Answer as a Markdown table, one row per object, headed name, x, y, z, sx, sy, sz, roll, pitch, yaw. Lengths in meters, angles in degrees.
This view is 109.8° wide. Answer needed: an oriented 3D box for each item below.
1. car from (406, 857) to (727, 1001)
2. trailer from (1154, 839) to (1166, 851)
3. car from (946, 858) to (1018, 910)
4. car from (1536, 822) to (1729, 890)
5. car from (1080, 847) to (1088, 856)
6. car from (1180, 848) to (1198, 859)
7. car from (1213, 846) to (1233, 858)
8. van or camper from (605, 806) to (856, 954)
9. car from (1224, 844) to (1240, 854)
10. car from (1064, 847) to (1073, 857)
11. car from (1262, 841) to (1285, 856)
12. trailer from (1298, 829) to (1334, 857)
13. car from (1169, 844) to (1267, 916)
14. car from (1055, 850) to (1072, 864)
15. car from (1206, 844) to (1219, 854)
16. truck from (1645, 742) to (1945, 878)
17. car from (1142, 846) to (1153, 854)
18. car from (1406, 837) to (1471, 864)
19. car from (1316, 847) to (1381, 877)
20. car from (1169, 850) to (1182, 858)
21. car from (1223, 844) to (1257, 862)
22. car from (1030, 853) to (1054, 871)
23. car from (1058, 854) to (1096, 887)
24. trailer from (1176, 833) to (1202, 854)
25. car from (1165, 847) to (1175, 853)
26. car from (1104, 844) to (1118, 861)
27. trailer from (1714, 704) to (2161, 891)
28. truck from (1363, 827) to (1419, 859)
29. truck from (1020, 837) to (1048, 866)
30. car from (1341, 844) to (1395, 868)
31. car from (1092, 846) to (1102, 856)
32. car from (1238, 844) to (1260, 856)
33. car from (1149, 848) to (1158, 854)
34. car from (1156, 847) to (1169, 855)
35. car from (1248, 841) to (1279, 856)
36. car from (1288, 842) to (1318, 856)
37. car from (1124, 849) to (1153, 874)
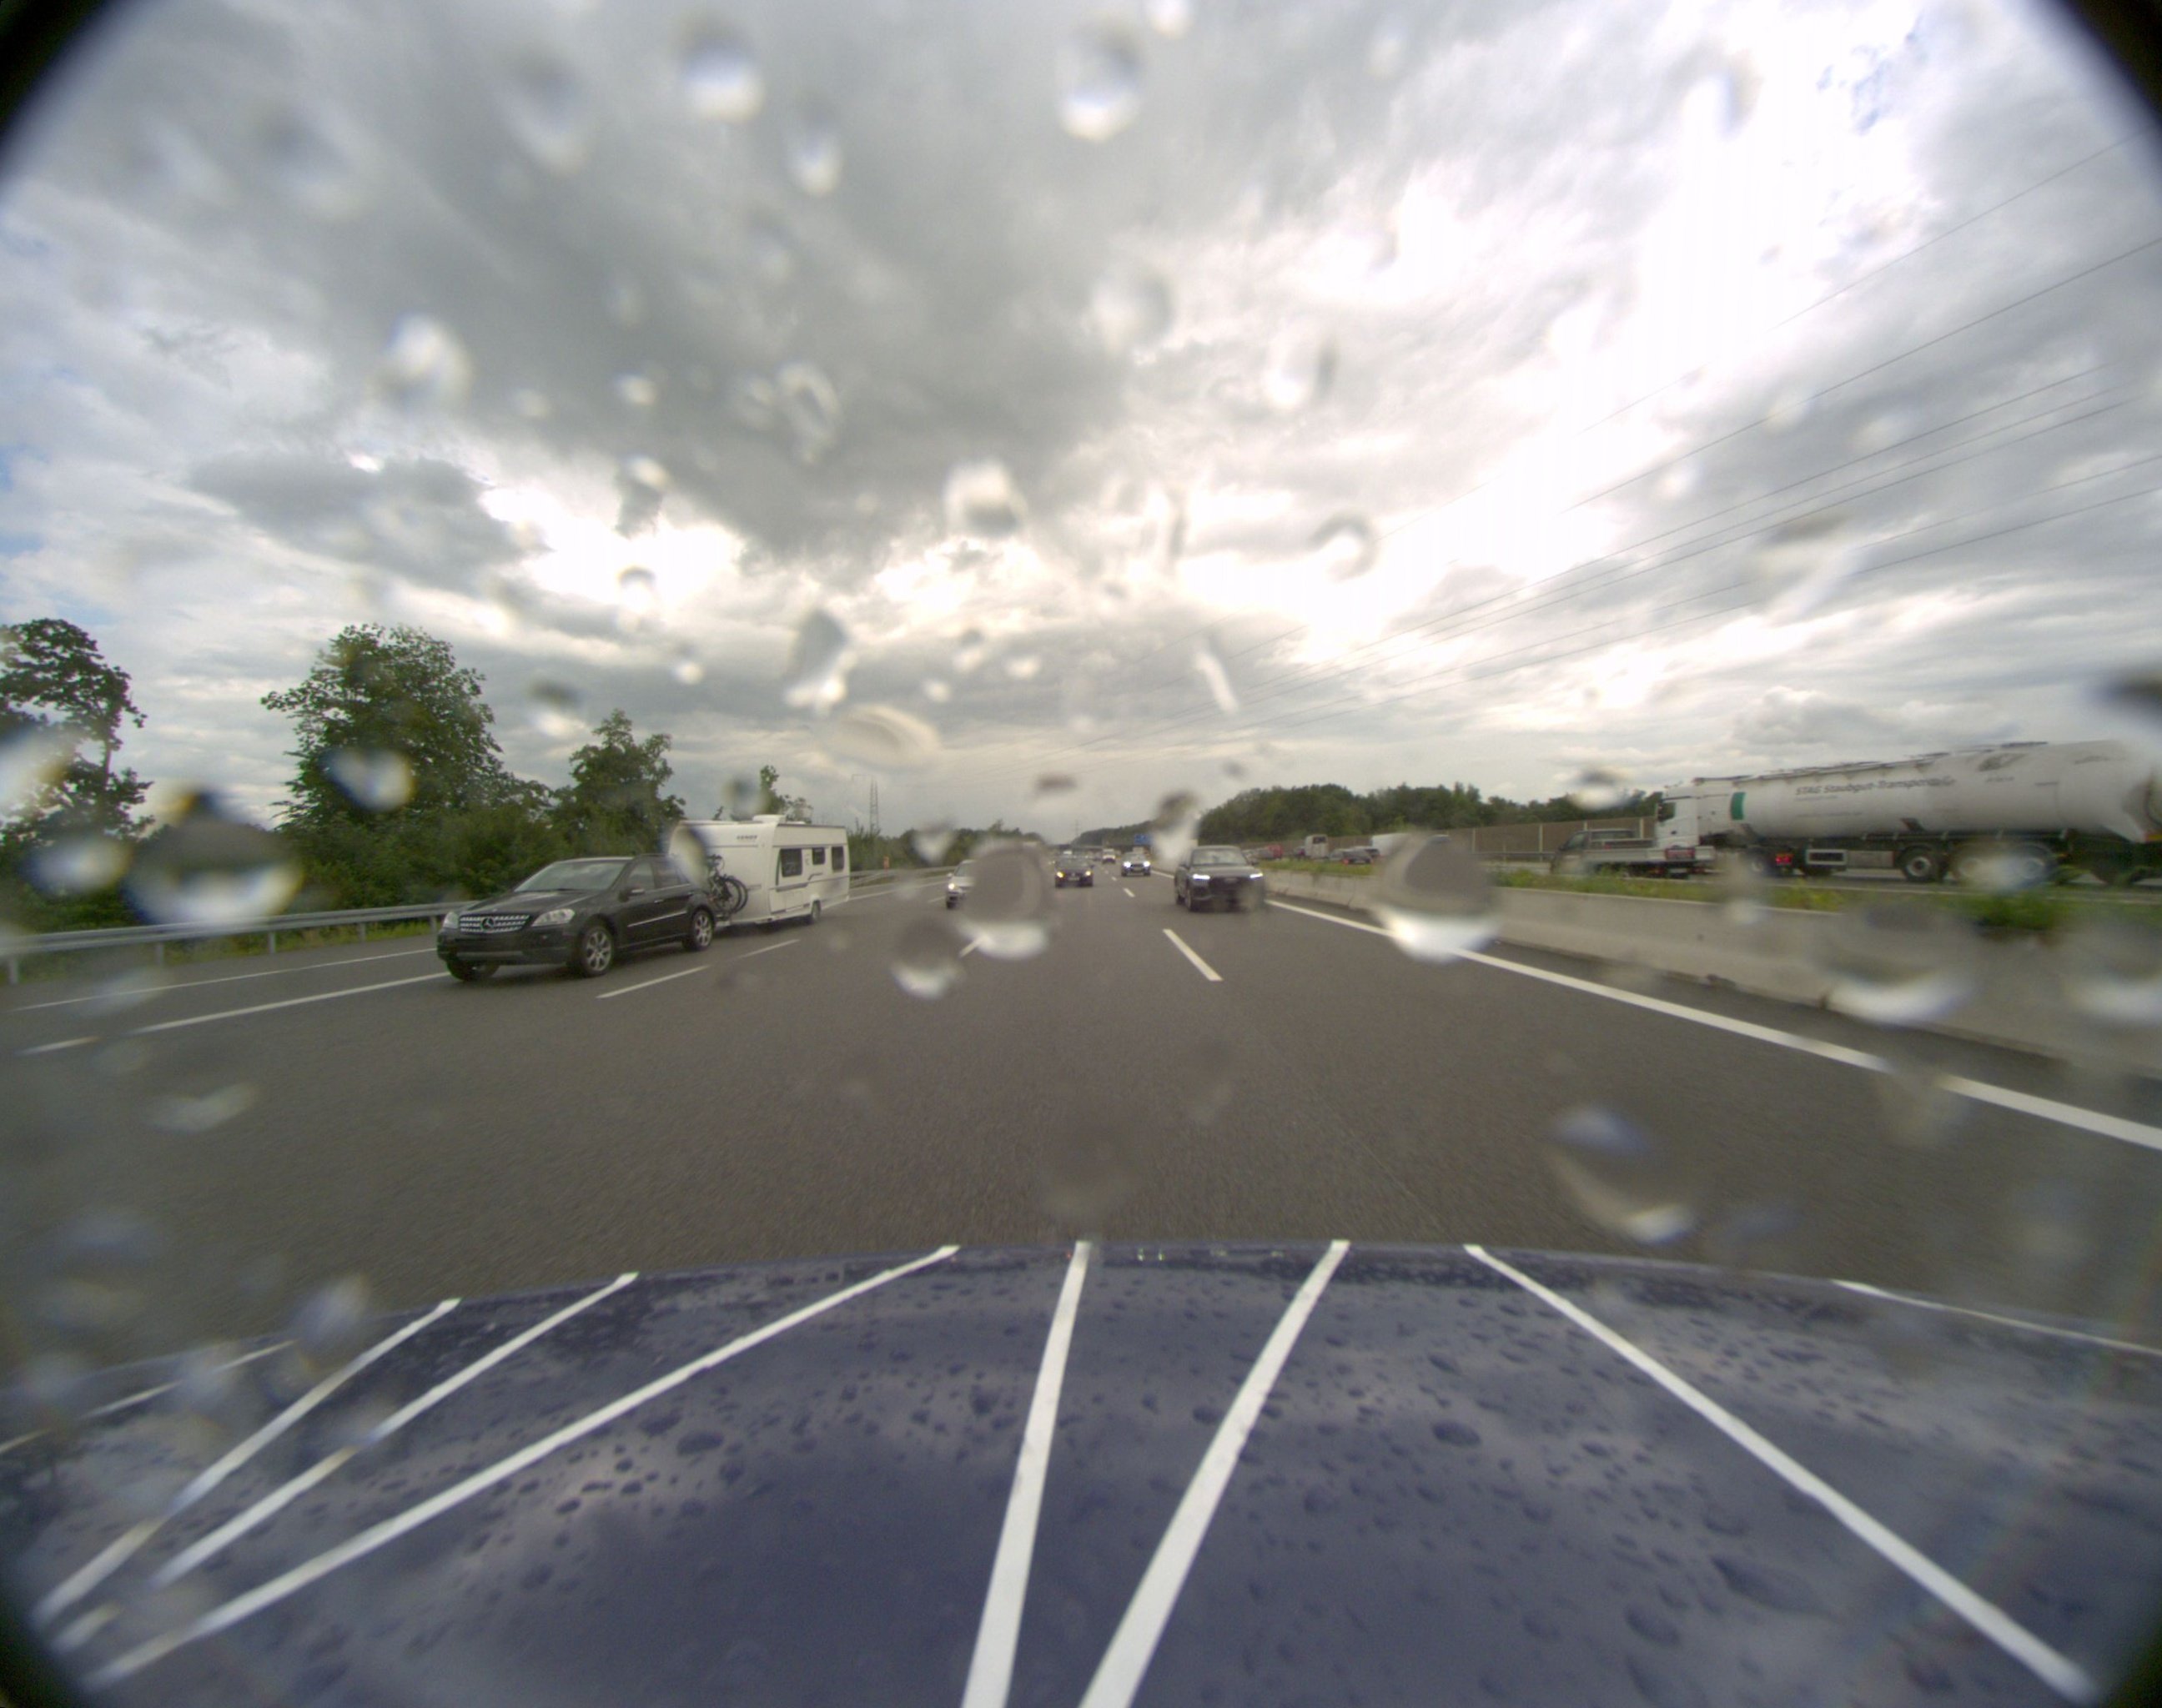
| name | x | y | z | sx | sy | sz | roll | pitch | yaw |
| --- | --- | --- | --- | --- | --- | --- | --- | --- | --- |
| car | -7.711 | 0.981 | 12.095 | 1.925 | 1.766 | 4.502 | -2 | 0 | 1 |
| trailer | 26.877 | -2.908 | 258.322 | 2.684 | 3.941 | 14.051 | -2 | 0 | 1 |
| car | -3.092 | 0.901 | 24.395 | 1.683 | 1.437 | 4.000 | -2 | 0 | 1 |
| car | 18.353 | 0.032 | 25.813 | 2.286 | 1.956 | 6.087 | -2 | 0 | 3 |
| car | 0.741 | -0.590 | 185.064 | 1.998 | 2.002 | 4.000 | -2 | 1 | 1 |
| car | 15.116 | -0.118 | 106.641 | 1.831 | 1.446 | 4.942 | -2 | 0 | 0 |
| car | 18.846 | -0.241 | 100.730 | 1.770 | 1.446 | 4.233 | -2 | 0 | 0 |
| van or camper | -7.697 | 0.470 | 17.994 | 2.390 | 2.723 | 7.208 | -2 | 0 | 1 |
| car | 27.334 | -0.906 | 137.613 | 1.770 | 1.601 | 4.942 | -2 | 0 | 0 |
| car | -2.818 | -0.471 | 175.889 | 1.998 | 2.002 | 4.000 | -2 | 1 | 1 |
| car | 26.291 | -0.779 | 104.073 | 1.770 | 1.956 | 4.942 | -2 | 0 | 0 |
| trailer | 25.899 | -1.175 | 83.885 | 2.253 | 2.945 | 4.900 | -2 | 1 | 0 |
| car | 3.585 | 0.604 | 20.802 | 1.913 | 1.681 | 5.169 | -2 | 1 | 3 |
| car | -2.234 | 0.336 | 97.741 | 1.999 | 1.701 | 3.999 | -2 | 0 | 0 |
| car | 27.289 | -1.034 | 157.906 | 2.008 | 2.002 | 4.000 | -2 | 1 | 2 |
| truck | 26.509 | -1.479 | 29.063 | 3.669 | 4.294 | 8.237 | -2 | 1 | 1 |
| car | 15.908 | -1.013 | 181.544 | 1.927 | 1.888 | 5.160 | -2 | 0 | 0 |
| car | 21.639 | -0.210 | 46.188 | 1.792 | 1.460 | 4.564 | -2 | 0 | 0 |
| car | 14.213 | 0.372 | 40.598 | 1.792 | 1.446 | 4.564 | -2 | 0 | 0 |
| car | 18.843 | 0.037 | 151.327 | 1.770 | 1.528 | 5.160 | -2 | 0 | 0 |
| car | 14.412 | -0.114 | 69.291 | 1.999 | 1.517 | 4.740 | -2 | 0 | -1 |
| car | -3.482 | 0.699 | 68.960 | 1.841 | 1.437 | 4.000 | -2 | 0 | 1 |
| car | -0.173 | 0.749 | 37.102 | 1.717 | 1.437 | 4.000 | -2 | 0 | 1 |
| trailer | 22.556 | -2.077 | 159.226 | 3.328 | 4.038 | 13.286 | -2 | 0 | 0 |
| car | 22.339 | -1.039 | 191.568 | 1.770 | 1.528 | 5.160 | -2 | 0 | 0 |
| car | 4.685 | -0.292 | 120.293 | 1.998 | 2.524 | 4.808 | -2 | 1 | 1 |
| trailer | 26.307 | -1.383 | 23.136 | 3.669 | 4.212 | 12.466 | -2 | 0 | 1 |
| truck | 26.120 | -0.911 | 64.307 | 2.107 | 2.437 | 6.263 | -2 | 0 | 0 |
| truck | -6.309 | -0.408 | 102.889 | 2.870 | 3.633 | 9.594 | -2 | 0 | 1 |
| car | 18.955 | 0.102 | 50.337 | 1.792 | 1.446 | 4.564 | -2 | 0 | 0 |
| car | 3.561 | -0.640 | 170.405 | 1.998 | 2.002 | 4.000 | -2 | 1 | 1 |
| car | 22.264 | -0.496 | 101.020 | 1.770 | 1.446 | 4.942 | -2 | 0 | 0 |
| car | 18.617 | -0.853 | 196.440 | 1.770 | 1.528 | 5.160 | -2 | 0 | 0 |
| car | 15.117 | -0.556 | 141.100 | 1.770 | 1.446 | 5.084 | -2 | 0 | 0 |
| car | 19.063 | -0.593 | 79.547 | 1.970 | 1.446 | 4.942 | -2 | 0 | 0 |
| car | 25.901 | -0.568 | 88.767 | 1.970 | 1.586 | 4.820 | -2 | 0 | 0 |
| car | 3.898 | 0.491 | 52.464 | 1.840 | 1.615 | 4.915 | -2 | 0 | 3 |
